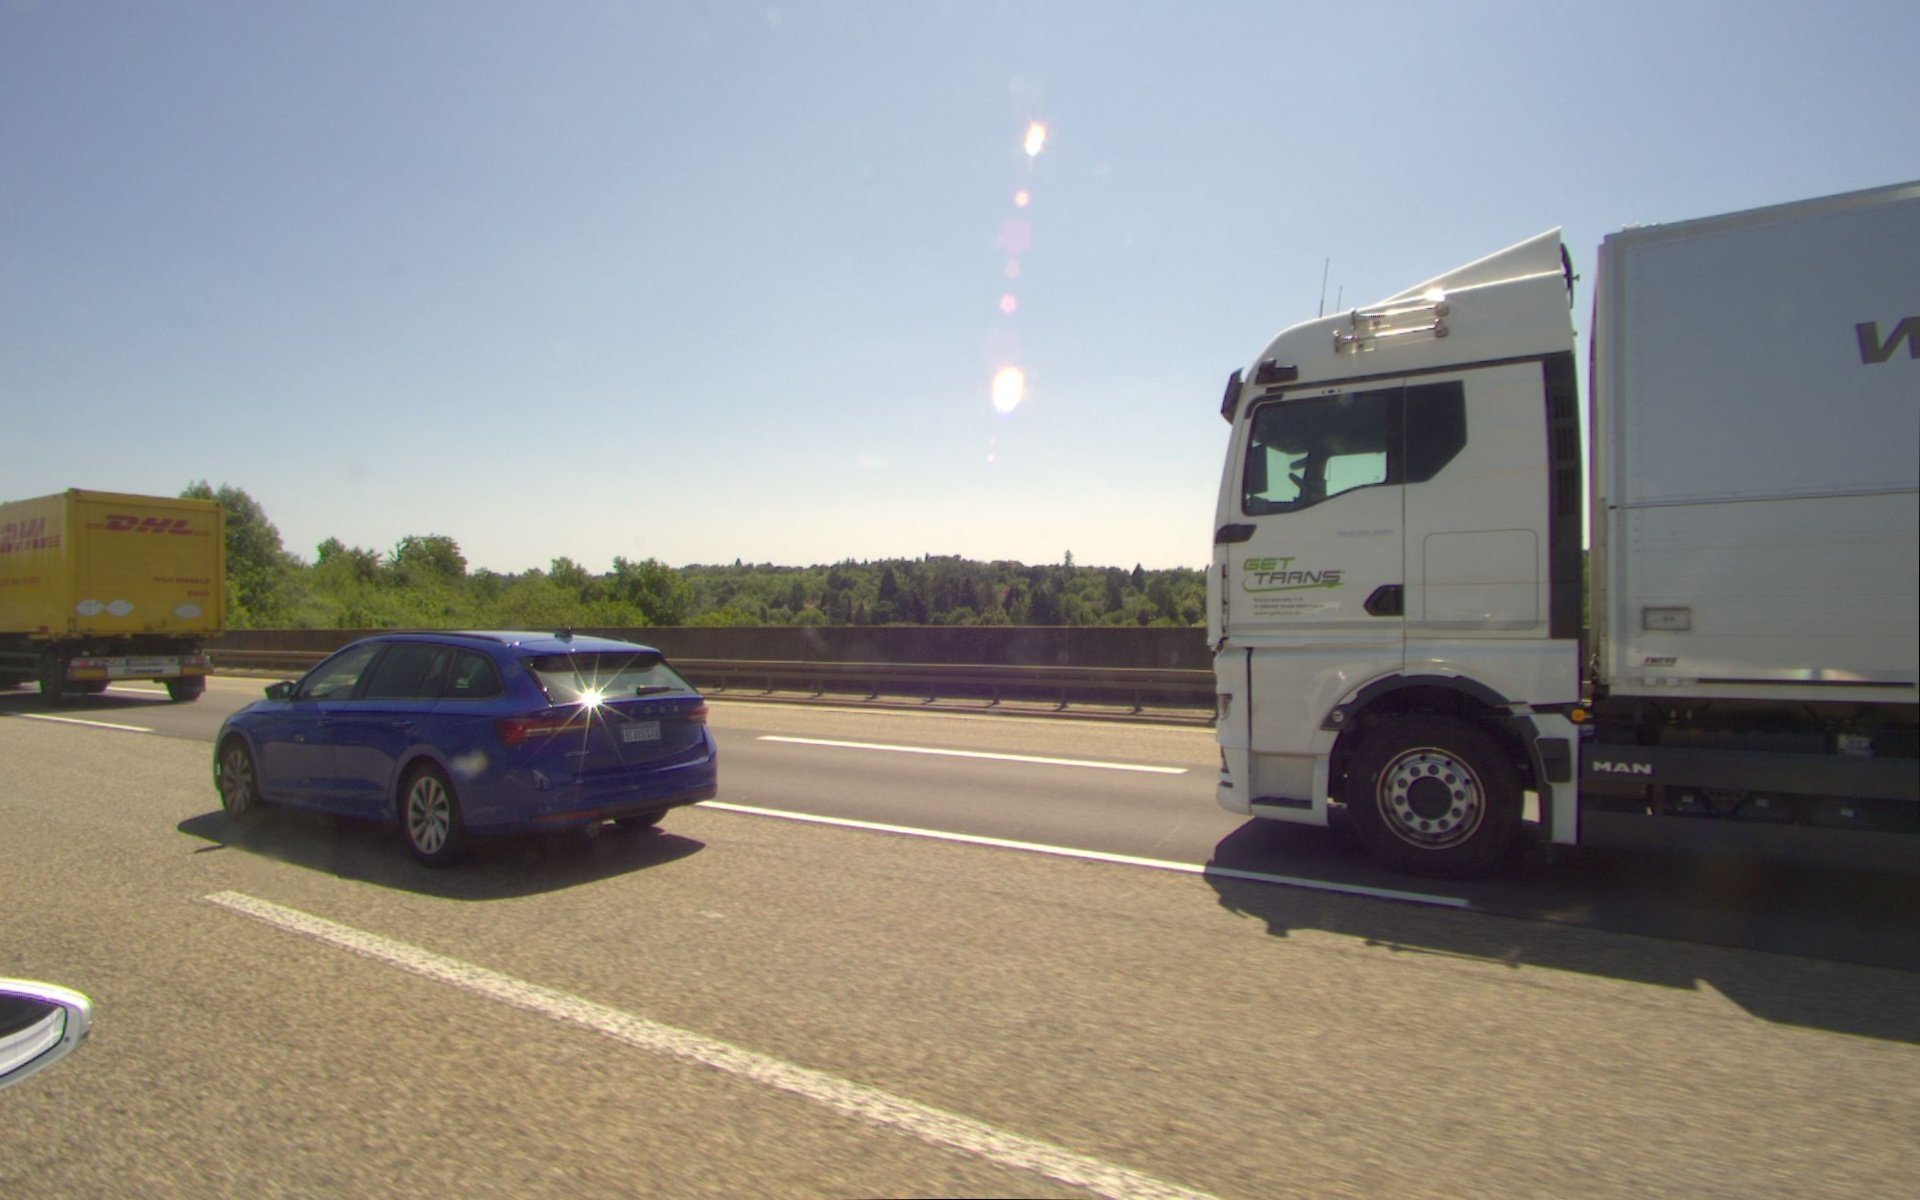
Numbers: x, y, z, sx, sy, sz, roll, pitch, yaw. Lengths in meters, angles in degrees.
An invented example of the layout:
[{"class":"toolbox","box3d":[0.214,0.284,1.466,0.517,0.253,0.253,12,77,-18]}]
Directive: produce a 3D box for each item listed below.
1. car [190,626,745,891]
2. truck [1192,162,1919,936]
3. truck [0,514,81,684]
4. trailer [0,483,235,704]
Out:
[{"class":"car","box3d":[-3.821,0.935,7.505,4.436,1.459,1.706,-1,-1,33]},{"class":"truck","box3d":[6.769,-0.222,4.992,10.612,3.649,2.846,0,-1,32]},{"class":"truck","box3d":[-27.490,0.087,27.199,10.190,4.106,2.717,-1,-2,33]},{"class":"trailer","box3d":[-19.486,0.013,22.041,8.804,4.074,2.697,-1,-2,33]}]
